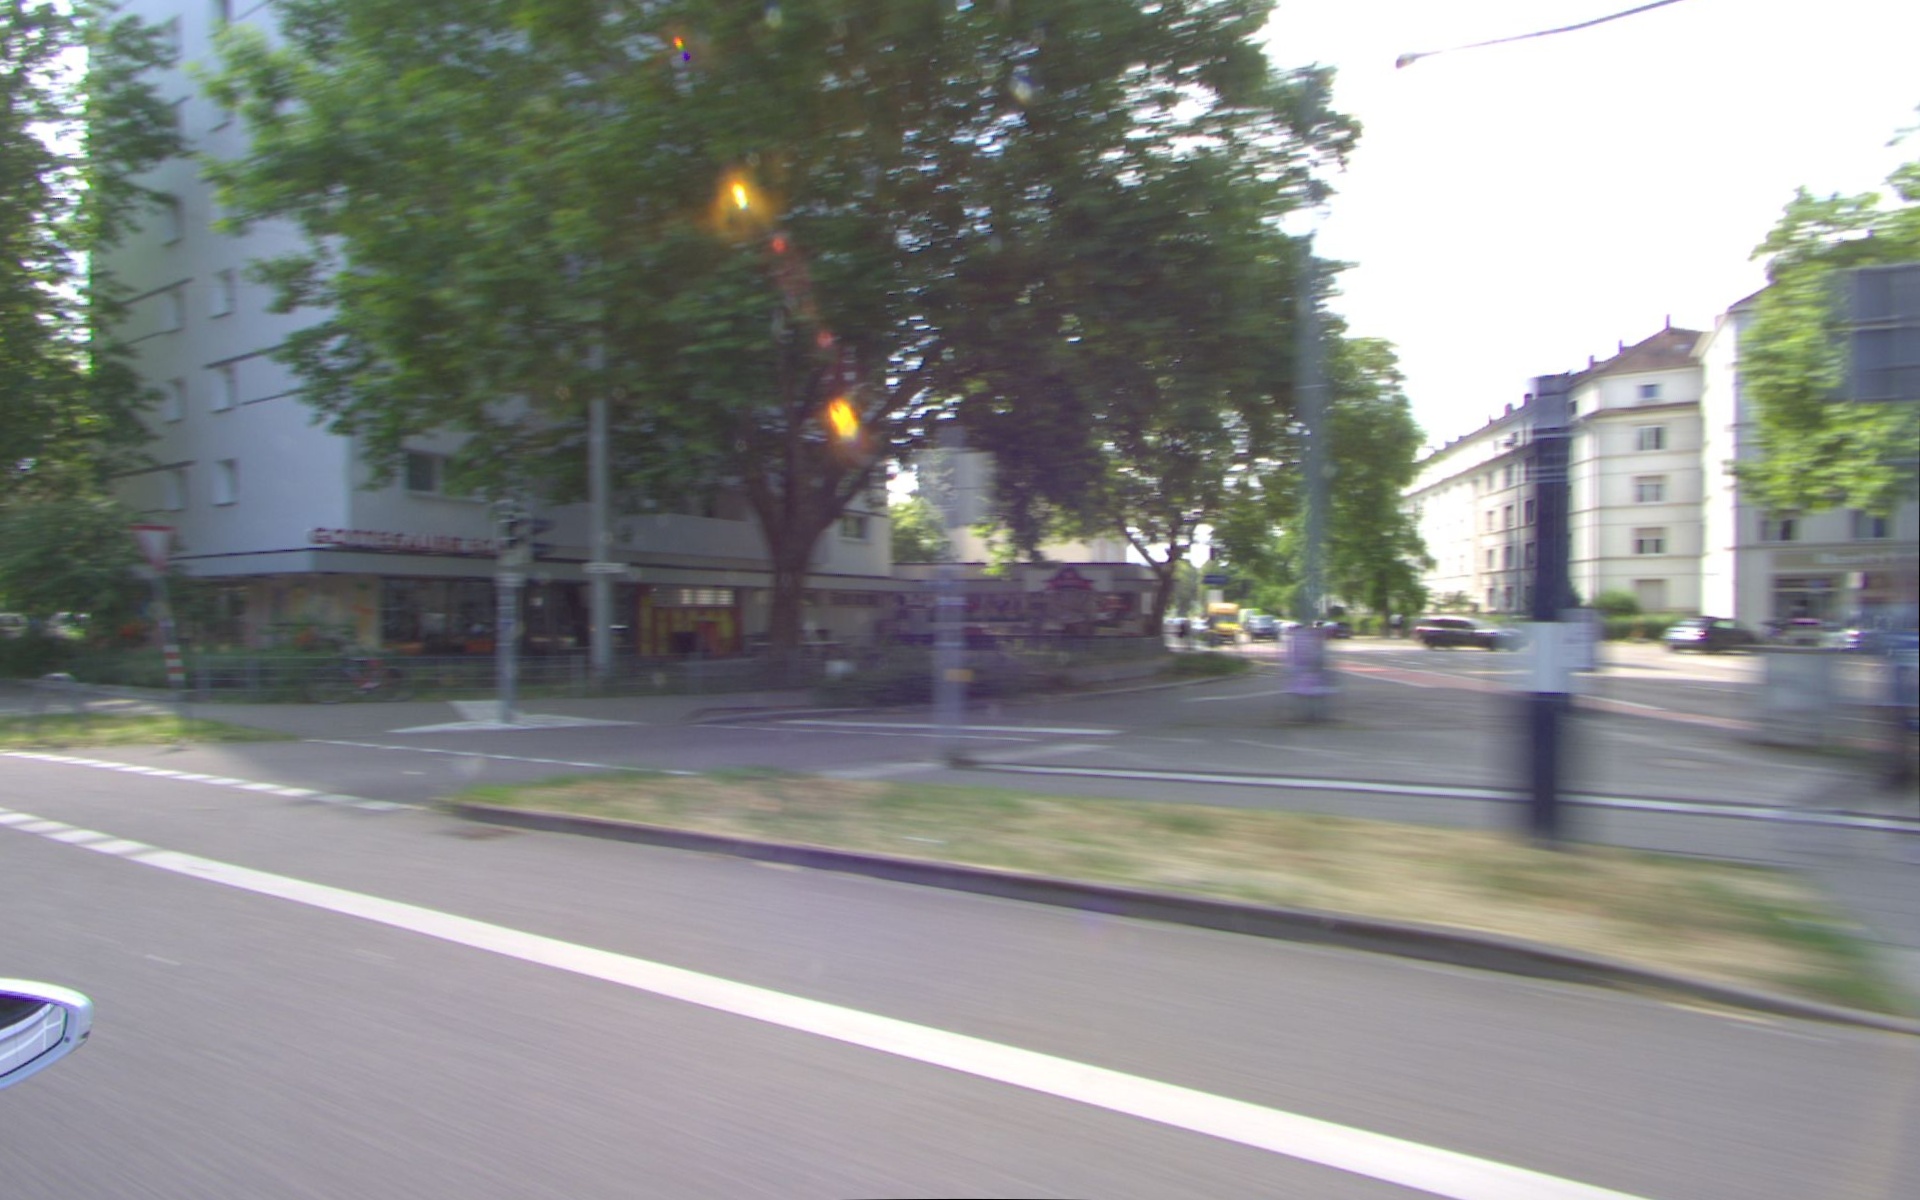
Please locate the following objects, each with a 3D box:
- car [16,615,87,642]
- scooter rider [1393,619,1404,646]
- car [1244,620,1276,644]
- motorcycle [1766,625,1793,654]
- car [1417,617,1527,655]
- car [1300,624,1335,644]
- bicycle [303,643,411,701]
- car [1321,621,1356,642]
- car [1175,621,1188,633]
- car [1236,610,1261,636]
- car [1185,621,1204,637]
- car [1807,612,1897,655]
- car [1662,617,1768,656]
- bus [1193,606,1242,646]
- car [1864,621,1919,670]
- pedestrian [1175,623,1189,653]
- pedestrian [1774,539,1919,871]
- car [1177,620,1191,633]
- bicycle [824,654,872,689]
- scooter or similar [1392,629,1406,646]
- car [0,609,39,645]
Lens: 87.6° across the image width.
[{"bbox_3d":[-49.415,1.525,54.457,3.987,1.420,1.805,-1,-1,31],"label":"car"},{"bbox_3d":[30.105,2.209,68.714,0.518,1.835,0.649,0,0,6],"label":"scooter rider"},{"bbox_3d":[22.143,2.326,73.909,1.832,1.682,3.748,0,-1,10],"label":"car"},{"bbox_3d":[37.167,1.776,45.428,0.562,1.259,1.878,0,-1,28],"label":"motorcycle"},{"bbox_3d":[23.756,1.634,46.595,1.767,1.682,4.291,0,-1,-31],"label":"car"},{"bbox_3d":[29.143,2.770,81.643,1.764,1.544,3.680,0,-2,4],"label":"car"},{"bbox_3d":[-11.298,1.333,18.800,1.705,1.022,0.531,1,-1,-33],"label":"bicycle"},{"bbox_3d":[28.844,2.418,76.417,1.697,1.574,3.634,0,-2,7],"label":"car"},{"bbox_3d":[31.546,3.796,142.803,1.674,1.682,3.748,0,-1,10],"label":"car"},{"bbox_3d":[31.496,2.503,109.440,2.086,2.675,6.326,0,-1,11],"label":"car"},{"bbox_3d":[24.054,2.964,102.687,1.701,1.682,3.748,0,-1,10],"label":"car"},{"bbox_3d":[39.541,1.490,44.533,1.882,1.819,4.703,-1,-2,28],"label":"car"},{"bbox_3d":[31.040,1.483,41.200,3.403,1.558,1.696,0,0,-12],"label":"car"},{"bbox_3d":[18.494,1.869,72.248,2.355,2.743,6.372,0,-2,5],"label":"bus"},{"bbox_3d":[33.728,1.572,35.081,2.003,1.621,4.521,-1,-2,29],"label":"car"},{"bbox_3d":[11.221,1.907,50.605,0.659,1.498,0.575,1,-1,15],"label":"pedestrian"},{"bbox_3d":[5.330,0.579,5.801,0.874,1.806,0.691,0,-1,33],"label":"pedestrian"},{"bbox_3d":[30.360,3.542,135.650,1.633,1.682,3.748,0,-1,10],"label":"car"},{"bbox_3d":[-2.689,1.710,24.028,1.200,0.807,0.295,1,-1,-43],"label":"bicycle"},{"bbox_3d":[30.103,2.572,68.693,0.540,1.105,1.292,0,-1,6],"label":"scooter or similar"},{"bbox_3d":[-50.458,1.401,52.786,4.277,1.838,1.804,-1,-1,32],"label":"car"}]
